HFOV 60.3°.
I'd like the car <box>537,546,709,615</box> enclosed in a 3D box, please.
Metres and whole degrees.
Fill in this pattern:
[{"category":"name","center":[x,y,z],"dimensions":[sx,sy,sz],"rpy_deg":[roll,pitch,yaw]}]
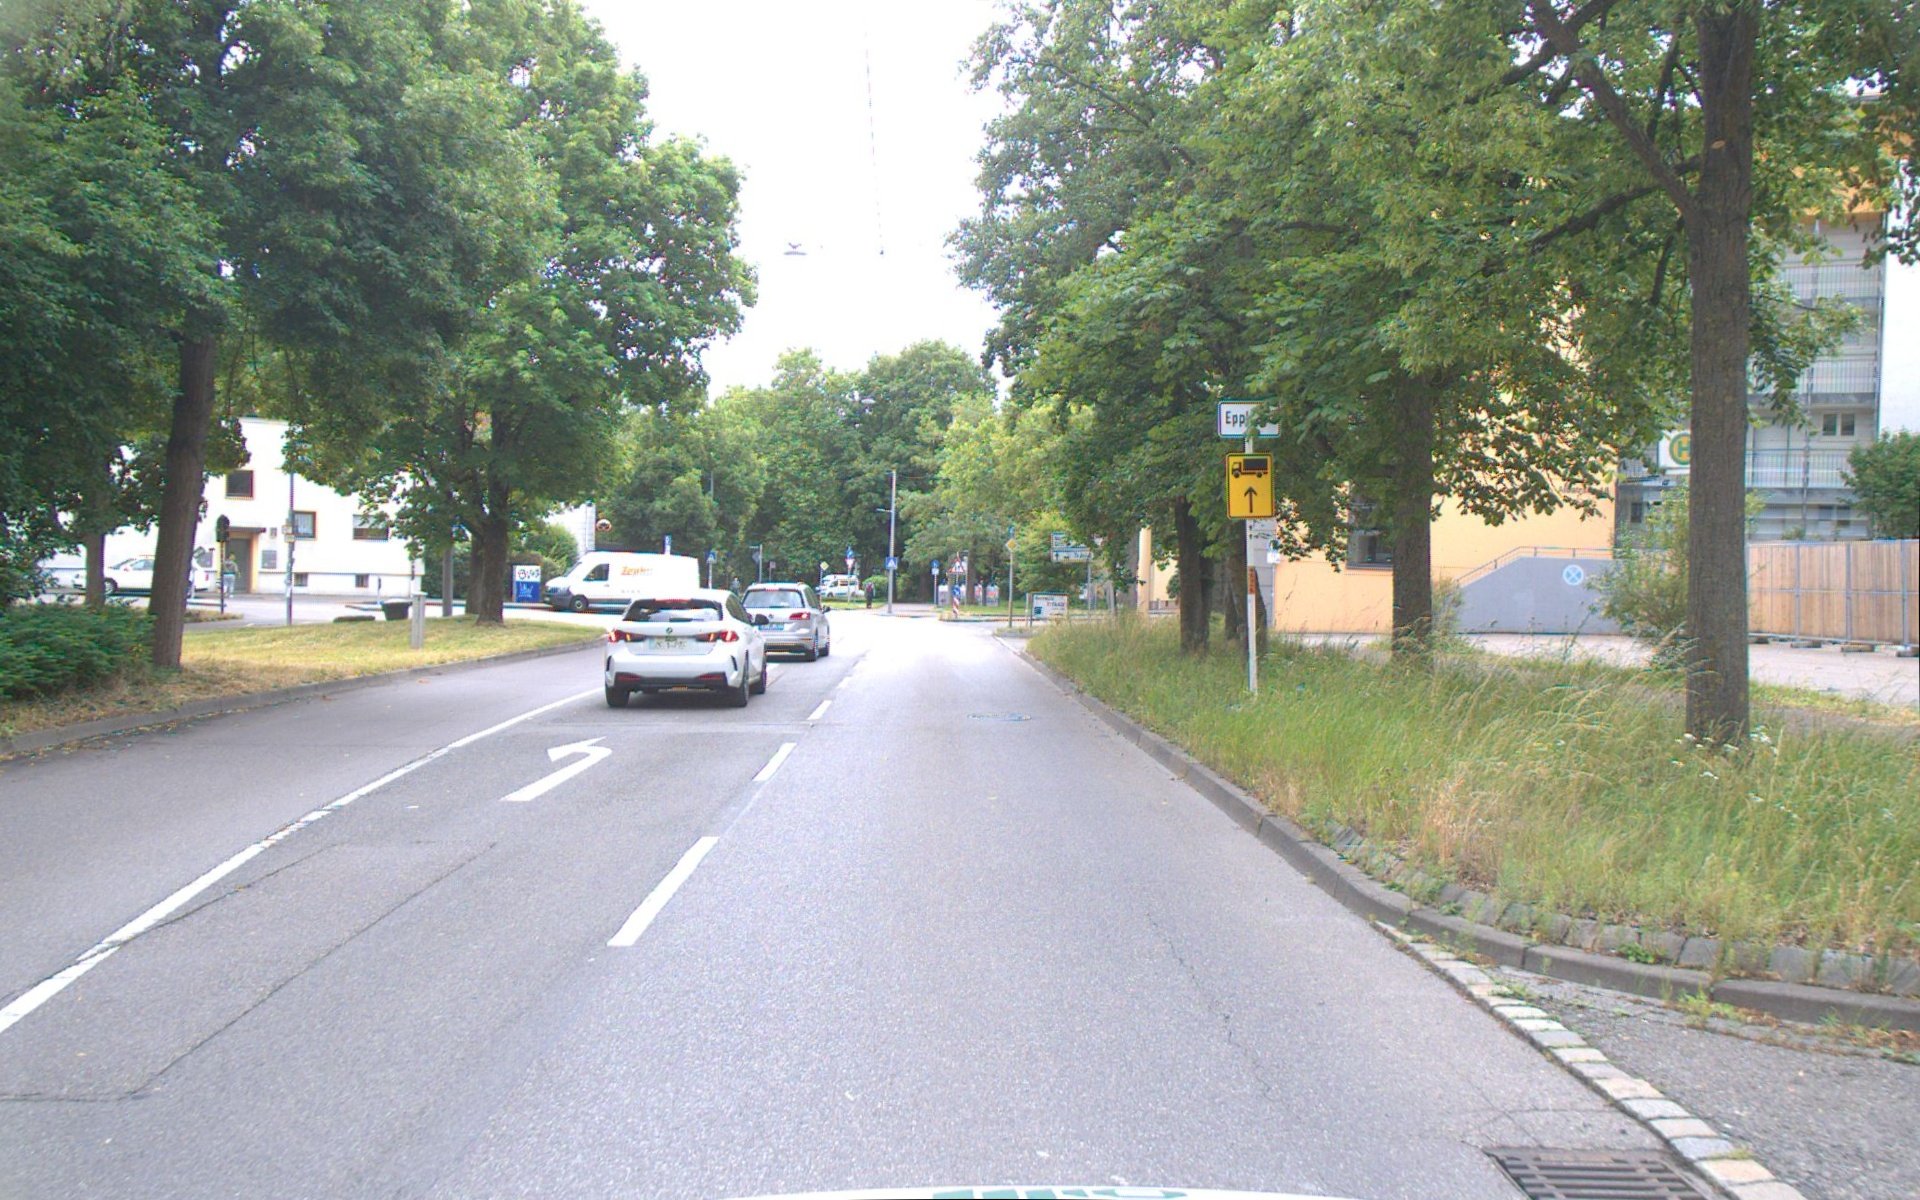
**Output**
[{"category":"car","center":[-14.241,-0.816,70.224],"dimensions":[6.911,2.565,2.057],"rpy_deg":[2,2,-39]}]

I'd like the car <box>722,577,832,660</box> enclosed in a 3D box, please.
[{"category":"car","center":[-3.799,0.346,35.009],"dimensions":[1.884,1.601,4.000],"rpy_deg":[2,1,-1]}]

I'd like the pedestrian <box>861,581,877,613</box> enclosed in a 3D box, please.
[{"category":"pedestrian","center":[-5.728,-0.210,103.959],"dimensions":[0.905,1.903,1.018],"rpy_deg":[-2,4,-5]}]

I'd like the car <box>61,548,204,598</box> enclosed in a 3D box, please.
[{"category":"car","center":[-29.625,-0.941,59.281],"dimensions":[4.278,1.464,1.697],"rpy_deg":[3,1,-41]}]

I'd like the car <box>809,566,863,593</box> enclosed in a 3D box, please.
[{"category":"car","center":[-12.114,-2.010,161.695],"dimensions":[2.097,2.336,5.362],"rpy_deg":[5,1,37]}]

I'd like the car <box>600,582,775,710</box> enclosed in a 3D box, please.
[{"category":"car","center":[-3.546,0.542,22.223],"dimensions":[1.759,1.544,4.205],"rpy_deg":[0,0,-2]}]

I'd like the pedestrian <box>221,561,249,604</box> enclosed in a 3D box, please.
[{"category":"pedestrian","center":[-27.319,-0.670,62.330],"dimensions":[0.742,1.560,0.706],"rpy_deg":[3,1,-40]}]
